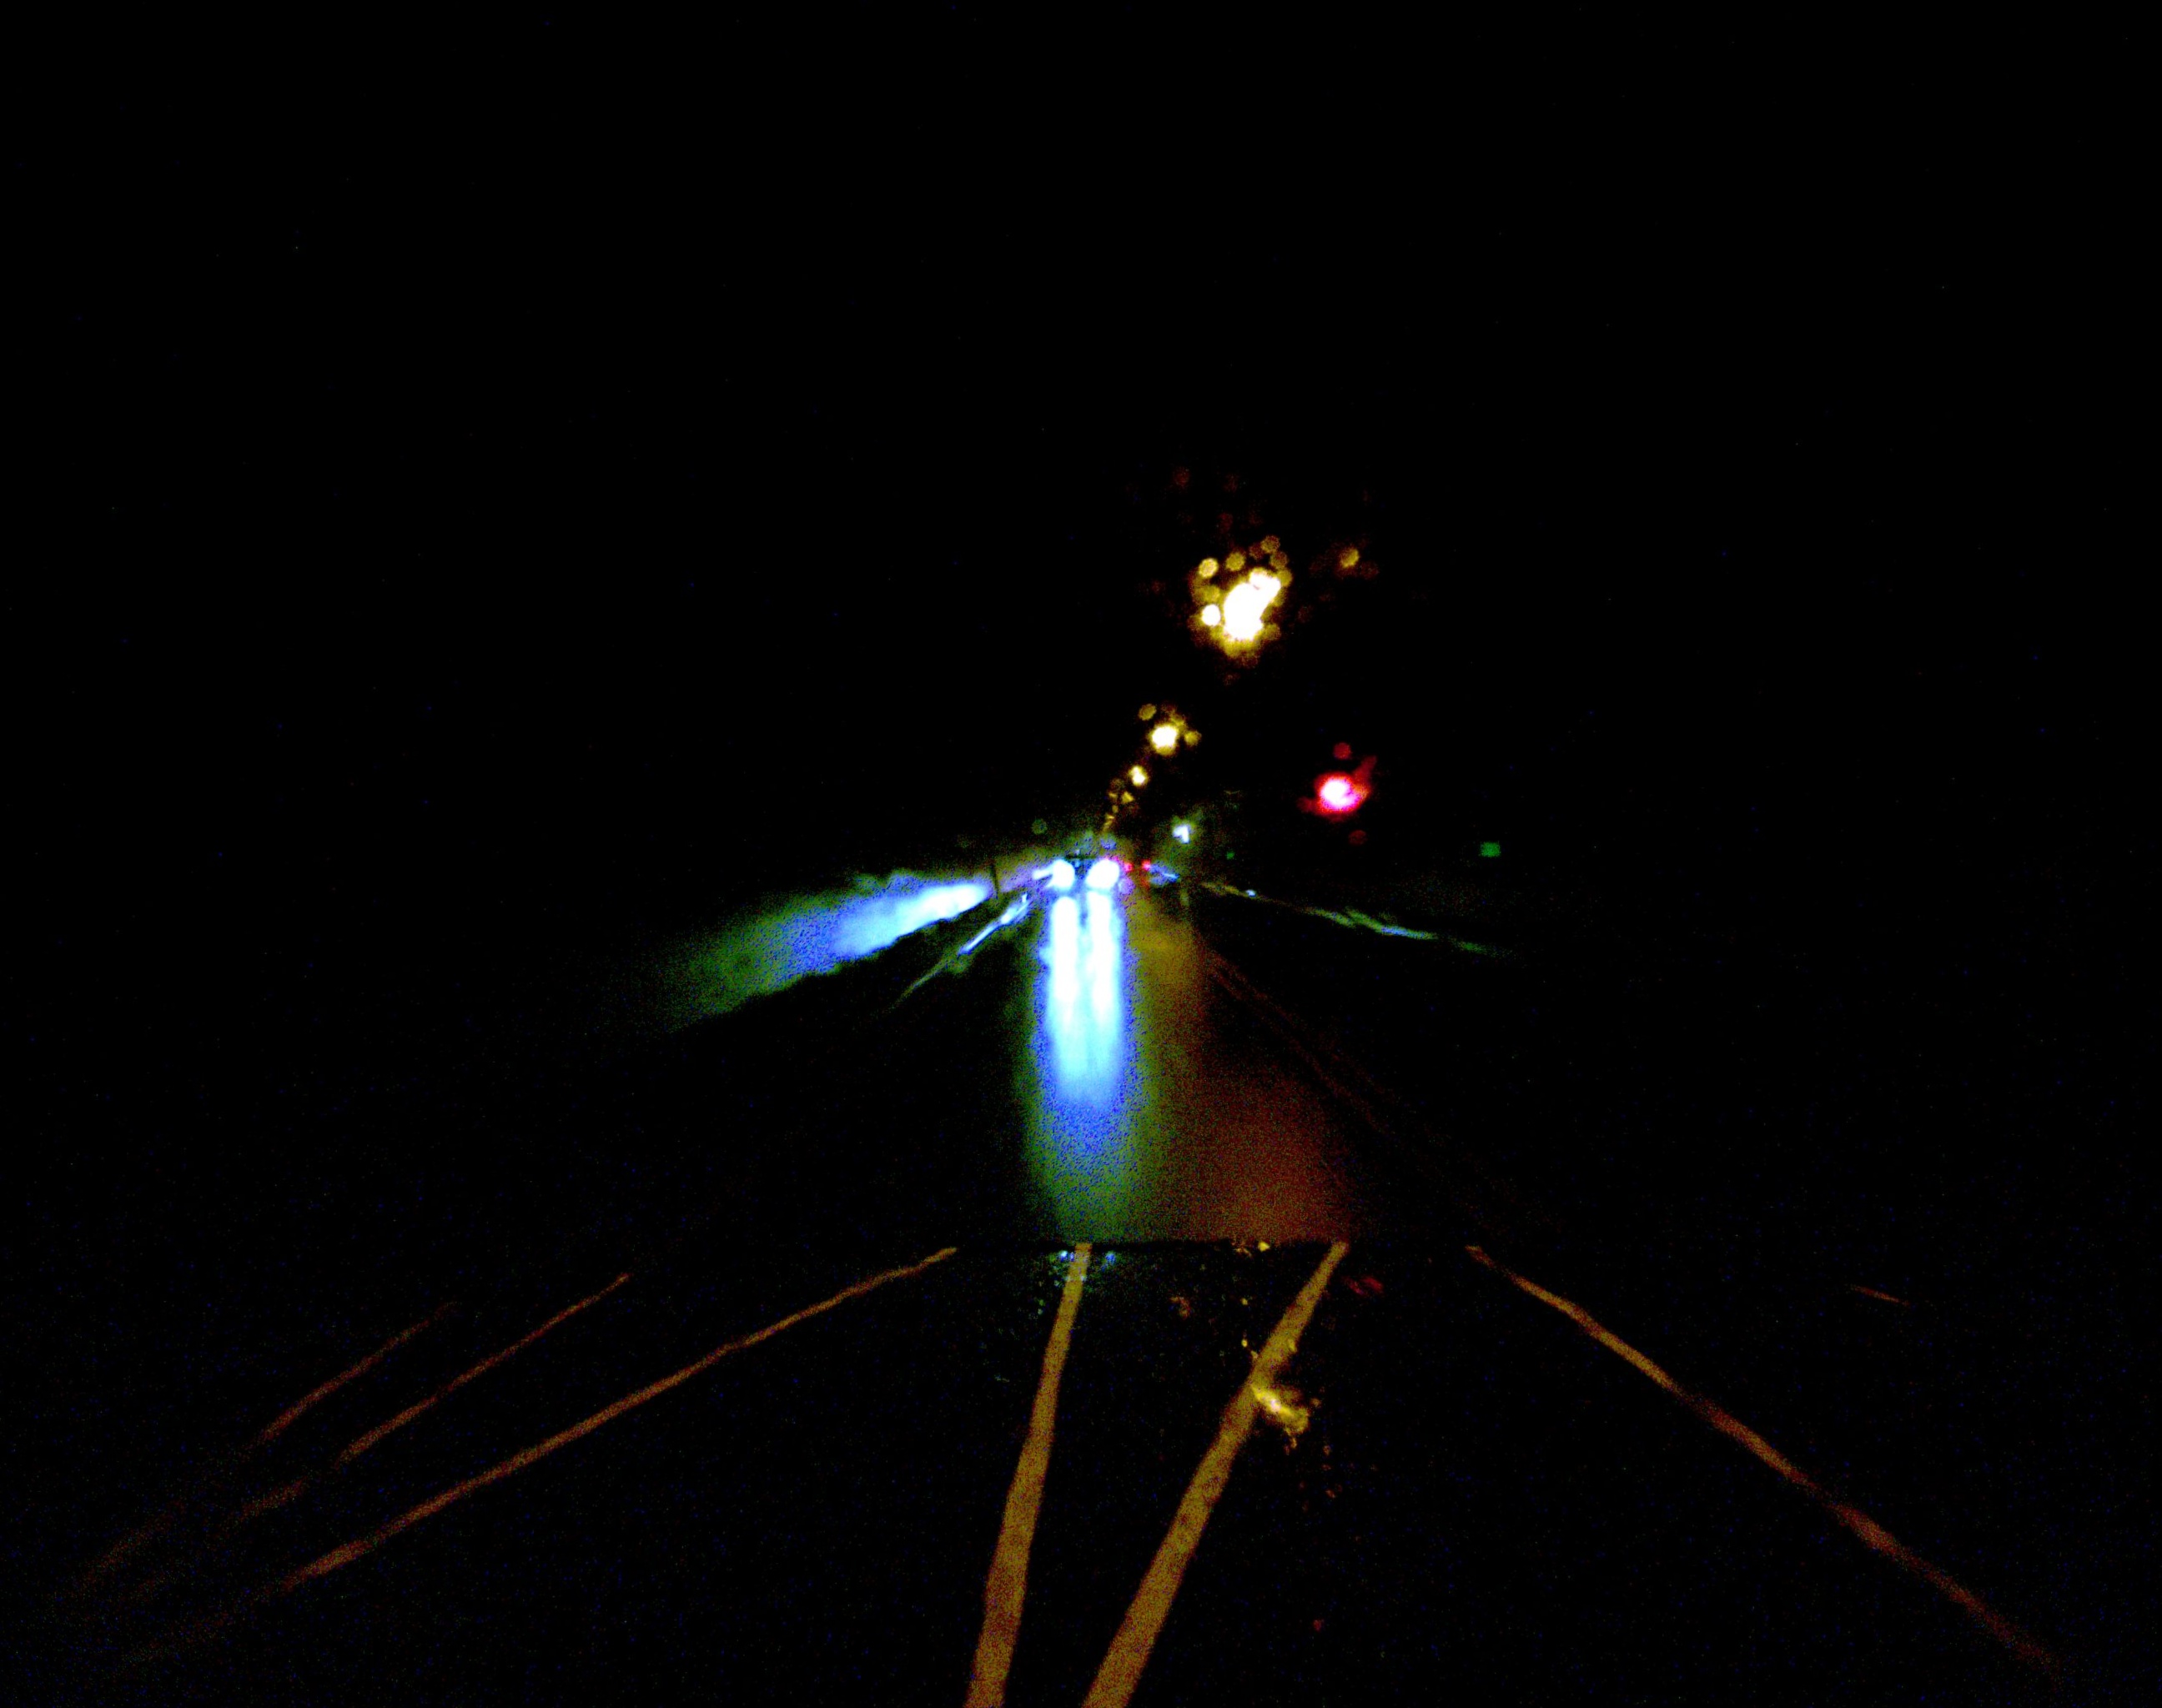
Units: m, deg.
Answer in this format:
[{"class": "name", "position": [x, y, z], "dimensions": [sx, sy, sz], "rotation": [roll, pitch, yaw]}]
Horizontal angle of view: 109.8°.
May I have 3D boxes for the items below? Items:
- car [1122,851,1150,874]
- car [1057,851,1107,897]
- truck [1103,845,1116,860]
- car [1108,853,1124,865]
[{"class": "car", "position": [4.112, 0.590, 57.411], "dimensions": [1.761, 1.519, 3.814], "rotation": [-4, 0, 1]}, {"class": "car", "position": [0.085, 0.758, 30.743], "dimensions": [1.829, 1.650, 3.929], "rotation": [-2, 0, 1]}, {"class": "truck", "position": [5.878, -0.306, 156.991], "dimensions": [2.285, 2.999, 6.593], "rotation": [-3, 0, -1]}, {"class": "car", "position": [4.646, 0.694, 101.434], "dimensions": [1.799, 1.474, 3.868], "rotation": [-3, 0, -1]}]
